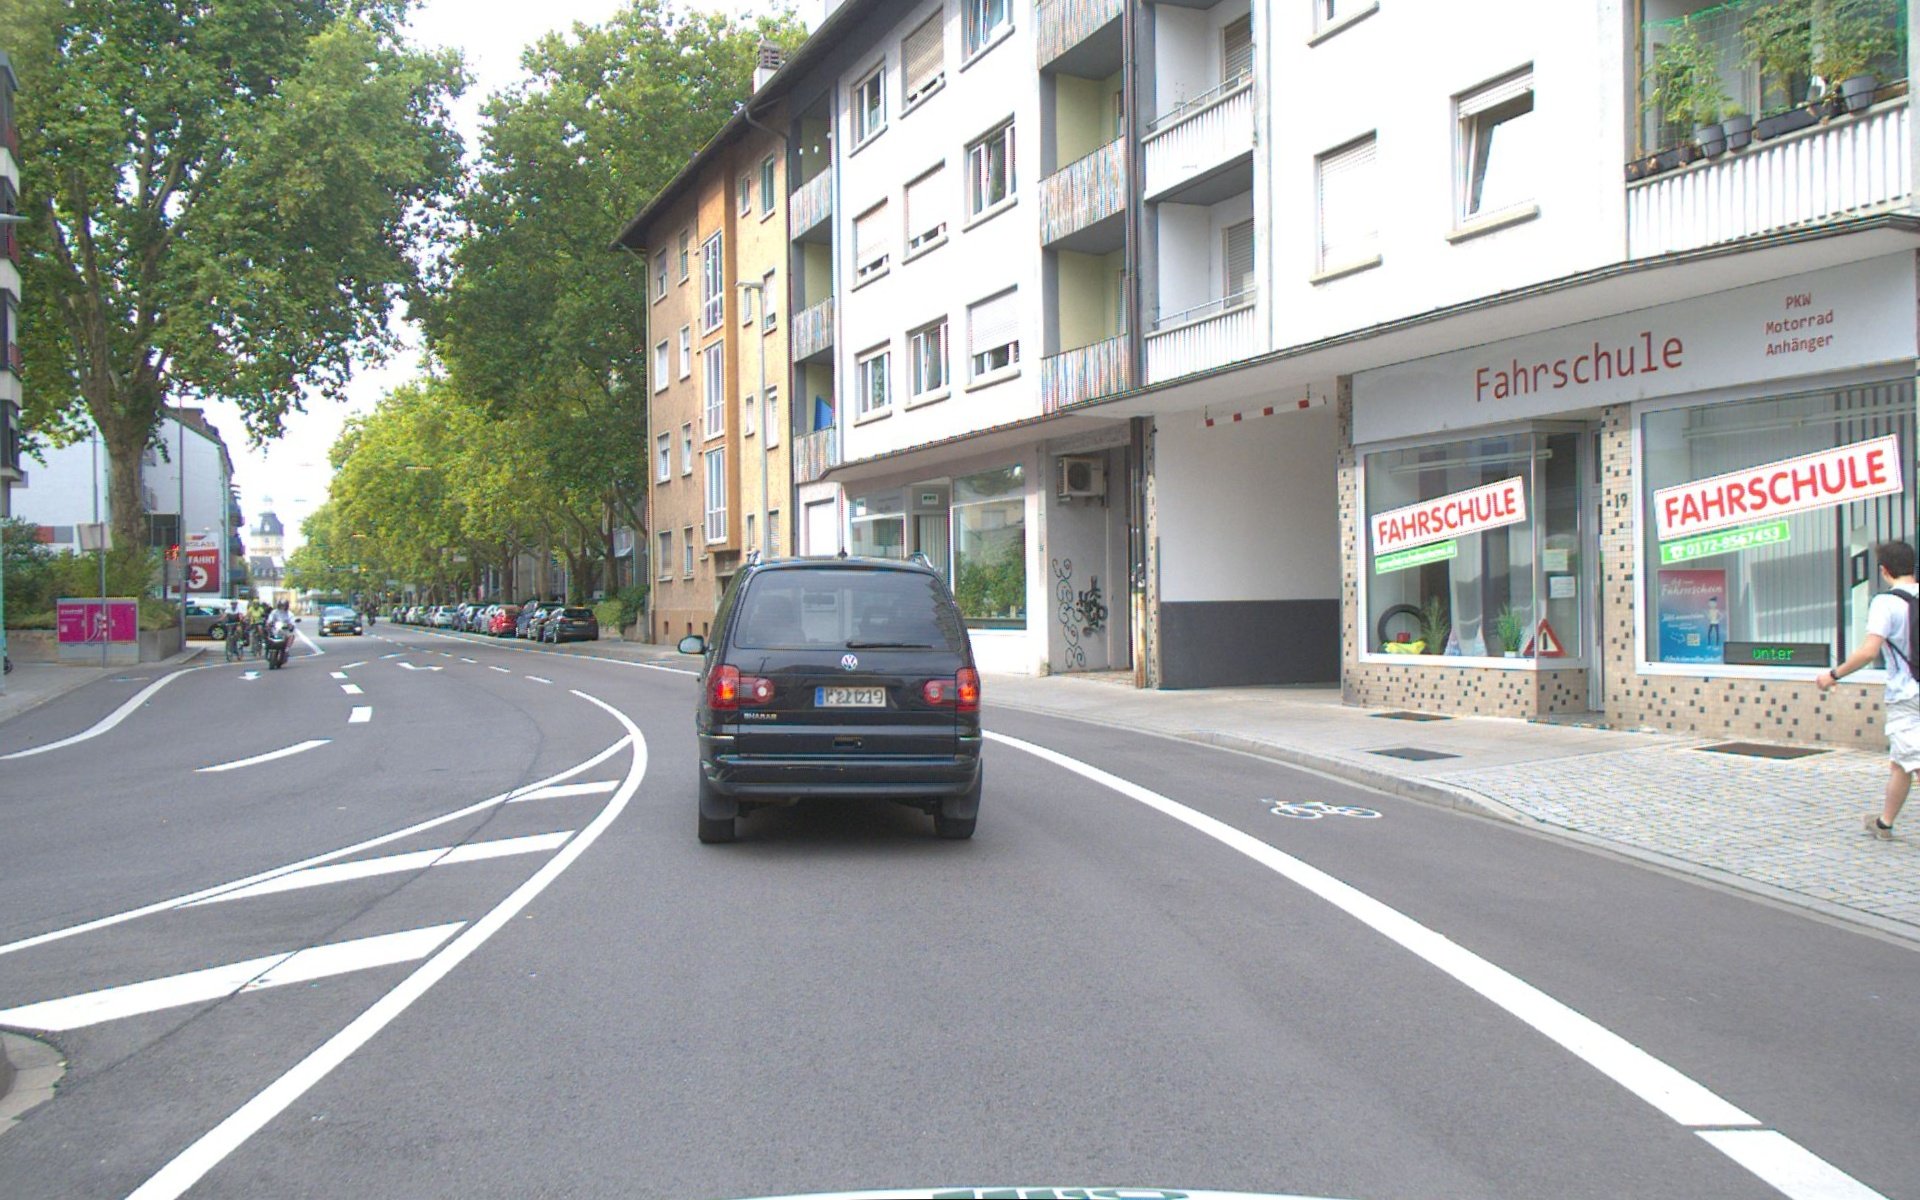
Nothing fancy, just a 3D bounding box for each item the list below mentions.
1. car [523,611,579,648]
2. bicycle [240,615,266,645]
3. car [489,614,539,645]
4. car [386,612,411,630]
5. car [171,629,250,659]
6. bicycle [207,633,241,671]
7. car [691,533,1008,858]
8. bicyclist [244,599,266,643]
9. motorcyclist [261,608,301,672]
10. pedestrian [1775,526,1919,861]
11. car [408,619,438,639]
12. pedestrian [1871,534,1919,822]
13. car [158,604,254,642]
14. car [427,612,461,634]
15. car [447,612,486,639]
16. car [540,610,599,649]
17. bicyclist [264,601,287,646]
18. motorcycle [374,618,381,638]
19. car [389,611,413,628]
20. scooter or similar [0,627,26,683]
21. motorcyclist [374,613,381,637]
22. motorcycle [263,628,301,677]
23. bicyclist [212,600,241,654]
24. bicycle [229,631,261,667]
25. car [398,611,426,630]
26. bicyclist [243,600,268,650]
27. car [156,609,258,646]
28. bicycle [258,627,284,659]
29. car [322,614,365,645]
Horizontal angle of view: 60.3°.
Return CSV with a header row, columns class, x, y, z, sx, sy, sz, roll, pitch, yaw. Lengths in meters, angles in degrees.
class,x,y,z,sx,sy,sz,roll,pitch,yaw
car,-17.250,1.216,69.662,1.635,1.447,3.918,-1,1,-23
bicycle,-25.800,1.079,60.348,0.726,1.024,2.182,1,0,-20
car,-21.320,1.406,78.926,1.654,1.418,4.427,0,-1,-24
car,-46.935,1.761,138.246,1.654,1.418,3.849,0,-1,-24
car,-38.342,2.240,84.673,3.633,1.470,1.740,1,-1,-24
bicycle,-21.533,1.520,48.415,0.726,1.024,1.899,1,0,-18
car,-0.899,0.543,11.124,1.779,1.797,3.729,0,-1,-9
bicyclist,-25.835,0.767,60.599,0.647,1.552,1.071,1,0,-19
motorcyclist,-16.325,0.961,39.807,0.784,1.486,0.860,-3,0,-20
pedestrian,5.333,0.491,9.438,0.740,1.780,0.855,-5,1,-18
car,-40.528,2.196,124.802,1.622,1.438,3.386,-1,0,-27
pedestrian,6.030,0.447,9.719,0.597,1.697,0.936,-4,1,-25
car,-39.754,1.228,87.359,4.464,1.911,2.033,1,-1,-23
car,-34.529,1.556,110.611,1.654,1.418,4.427,0,-1,-24
car,-27.807,1.439,93.116,1.608,1.495,4.285,0,-1,-24
car,-15.465,1.143,65.352,1.635,1.447,3.838,-1,1,-23
bicyclist,-23.739,0.816,57.367,0.647,1.552,0.852,1,0,-19
motorcycle,-41.289,2.001,117.165,0.367,1.373,1.719,-1,0,-23
car,-48.478,1.680,143.314,1.654,1.418,3.849,0,-1,-24
scooter or similar,-22.173,1.281,38.420,1.151,1.287,0.286,-1,0,30
motorcyclist,-41.265,1.782,117.124,0.440,1.676,0.516,-1,-1,-23
motorcycle,-16.335,1.243,39.879,0.711,1.114,2.024,-3,0,-19
bicyclist,-21.445,0.774,48.374,0.647,1.552,0.997,1,0,-19
bicycle,-22.426,1.521,51.915,0.726,1.024,2.240,1,0,-18
car,-42.747,1.597,129.003,1.622,1.419,3.482,1,-1,-26
bicyclist,-22.363,0.796,52.485,0.647,1.552,0.836,1,0,-19
car,-34.941,1.265,76.819,4.198,1.633,1.955,1,0,-23
bicycle,-23.904,1.494,57.388,0.726,1.024,1.965,1,0,-20
car,-30.533,1.435,81.825,1.786,1.432,4.575,-1,0,-23
